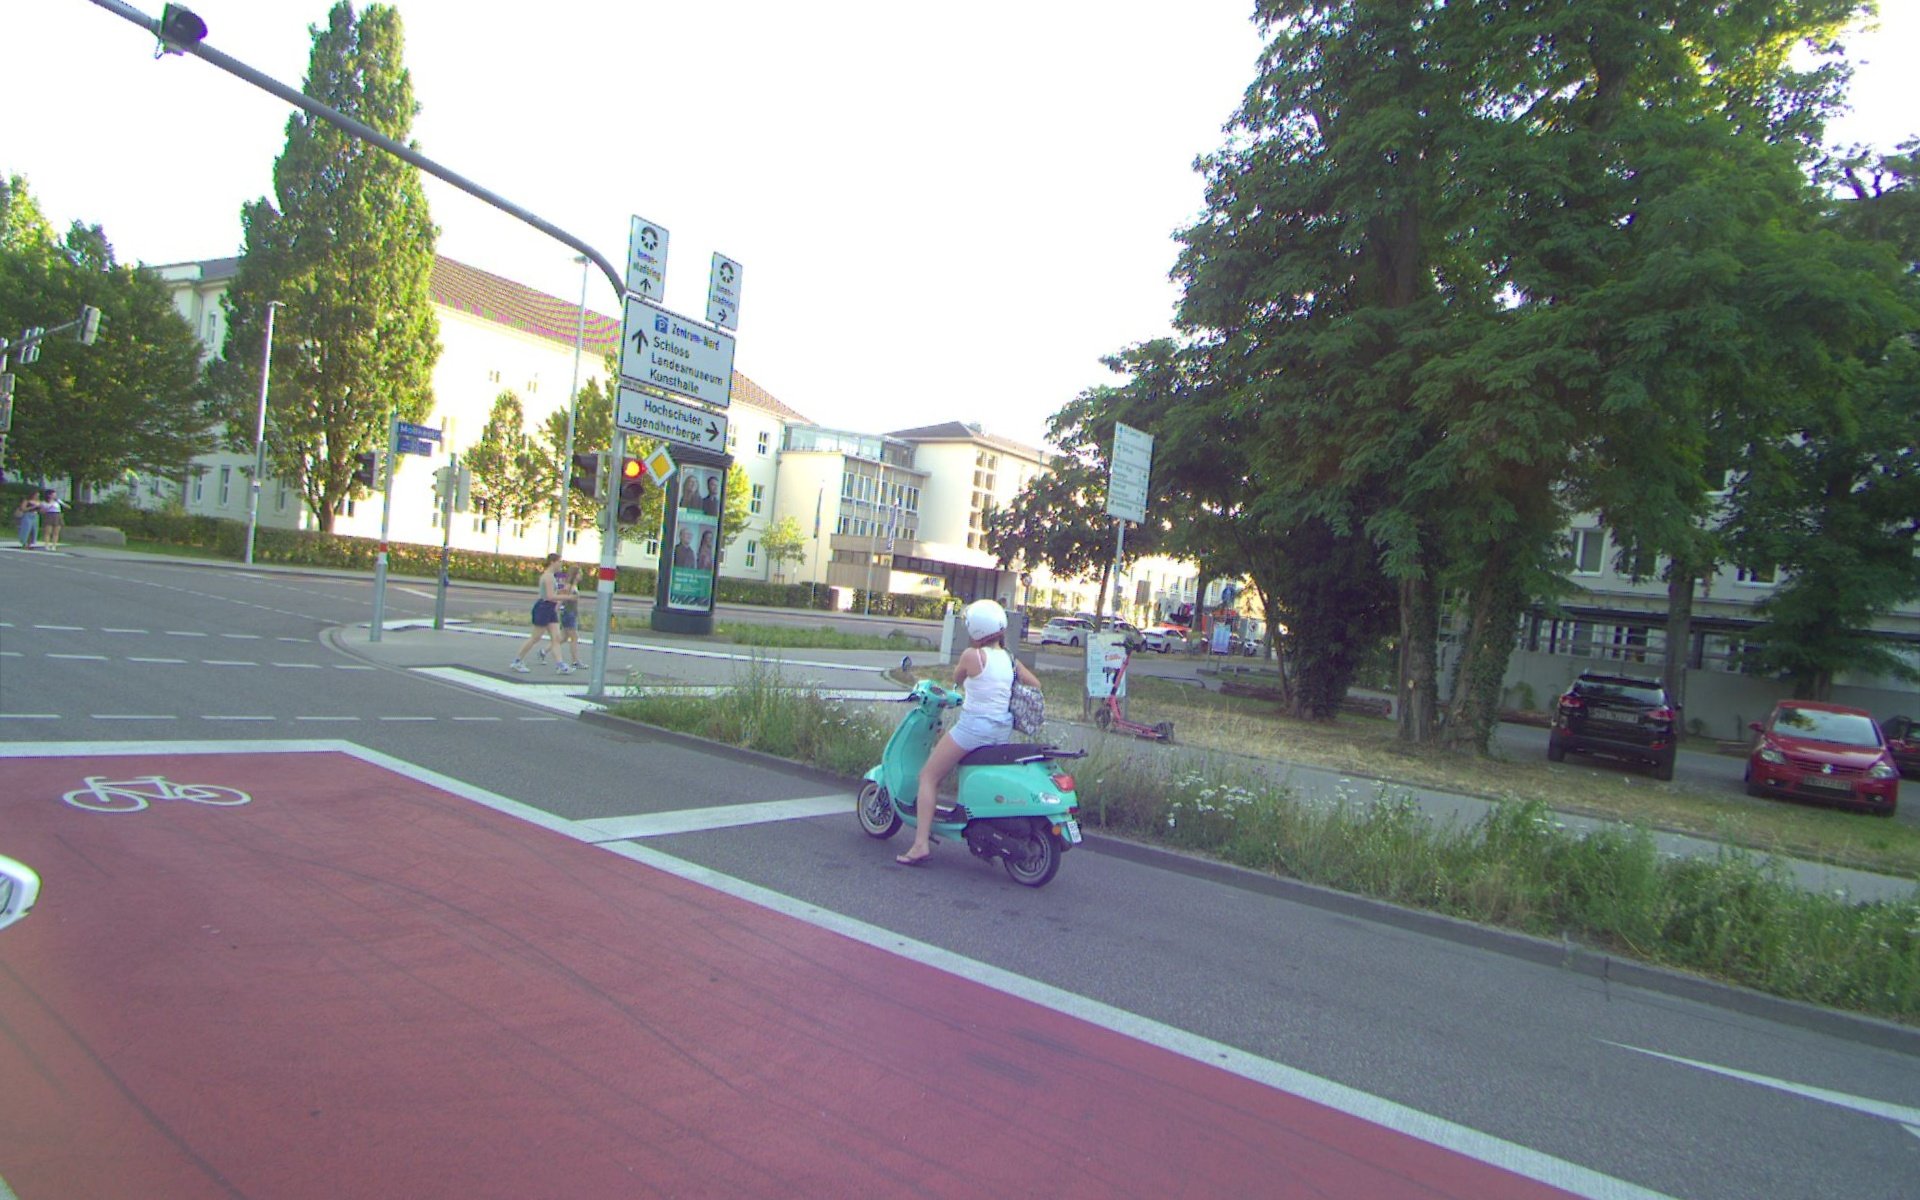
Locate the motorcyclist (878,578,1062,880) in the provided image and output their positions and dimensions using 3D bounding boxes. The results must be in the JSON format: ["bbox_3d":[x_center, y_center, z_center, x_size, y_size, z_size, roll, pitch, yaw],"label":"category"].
[{"bbox_3d":[0.070,0.799,6.493,0.680,1.758,0.737,7,1,40],"label":"motorcyclist"}]

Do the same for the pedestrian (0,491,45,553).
[{"bbox_3d":[-26.558,-2.204,28.466,0.831,1.643,0.681,8,2,32],"label":"pedestrian"}]

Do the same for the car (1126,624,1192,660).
[{"bbox_3d":[10.938,2.315,55.225,1.969,1.660,3.987,7,0,35],"label":"car"}]

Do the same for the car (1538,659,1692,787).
[{"bbox_3d":[11.770,2.094,17.953,1.890,1.762,4.223,7,0,37],"label":"car"}]

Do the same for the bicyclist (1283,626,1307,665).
[{"bbox_3d":[14.607,1.974,43.847,0.563,1.609,0.904,7,1,40],"label":"bicyclist"}]

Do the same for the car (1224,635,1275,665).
[{"bbox_3d":[19.658,3.410,68.205,1.969,1.660,3.987,7,0,35],"label":"car"}]

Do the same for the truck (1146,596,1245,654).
[{"bbox_3d":[15.926,1.781,67.367,2.599,3.179,10.243,6,0,35],"label":"truck"}]

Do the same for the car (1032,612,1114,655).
[{"bbox_3d":[5.400,1.612,47.692,1.872,1.660,3.983,7,0,38],"label":"car"}]

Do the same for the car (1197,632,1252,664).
[{"bbox_3d":[16.735,3.038,63.527,1.969,1.660,3.987,7,0,35],"label":"car"}]

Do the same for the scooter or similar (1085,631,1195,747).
[{"bbox_3d":[2.275,1.111,12.751,1.159,1.288,0.440,7,1,31],"label":"scooter or similar"}]

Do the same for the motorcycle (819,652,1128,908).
[{"bbox_3d":[0.032,1.069,6.496,1.866,1.212,0.681,7,0,40],"label":"motorcycle"}]

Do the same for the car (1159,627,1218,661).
[{"bbox_3d":[13.671,2.652,60.005,1.969,1.660,3.987,7,0,35],"label":"car"}]

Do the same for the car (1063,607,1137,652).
[{"bbox_3d":[7.735,1.652,55.277,2.024,1.884,4.486,7,-2,35],"label":"car"}]

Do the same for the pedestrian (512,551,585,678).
[{"bbox_3d":[-5.794,0.196,14.152,0.767,1.681,0.716,6,1,-27],"label":"pedestrian"}]

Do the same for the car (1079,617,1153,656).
[{"bbox_3d":[7.970,1.875,51.204,1.970,1.632,3.985,7,0,37],"label":"car"}]

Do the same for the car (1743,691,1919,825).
[{"bbox_3d":[14.052,2.424,16.375,1.890,1.631,3.984,7,0,38],"label":"car"}]

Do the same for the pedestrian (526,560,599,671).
[{"bbox_3d":[-5.972,0.226,15.085,0.780,1.542,0.731,5,1,-32],"label":"pedestrian"}]

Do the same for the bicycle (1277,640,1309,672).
[{"bbox_3d":[14.550,2.447,43.884,0.563,1.256,1.891,7,0,40],"label":"bicycle"}]

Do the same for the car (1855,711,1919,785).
[{"bbox_3d":[22.997,3.587,24.042,1.742,1.477,3.618,7,0,33],"label":"car"}]

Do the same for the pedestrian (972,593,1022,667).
[{"bbox_3d":[0.940,0.753,25.364,0.694,1.761,0.892,7,1,40],"label":"pedestrian"}]

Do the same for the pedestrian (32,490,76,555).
[{"bbox_3d":[-26.196,-2.240,29.082,0.677,1.776,0.681,8,2,31],"label":"pedestrian"}]
